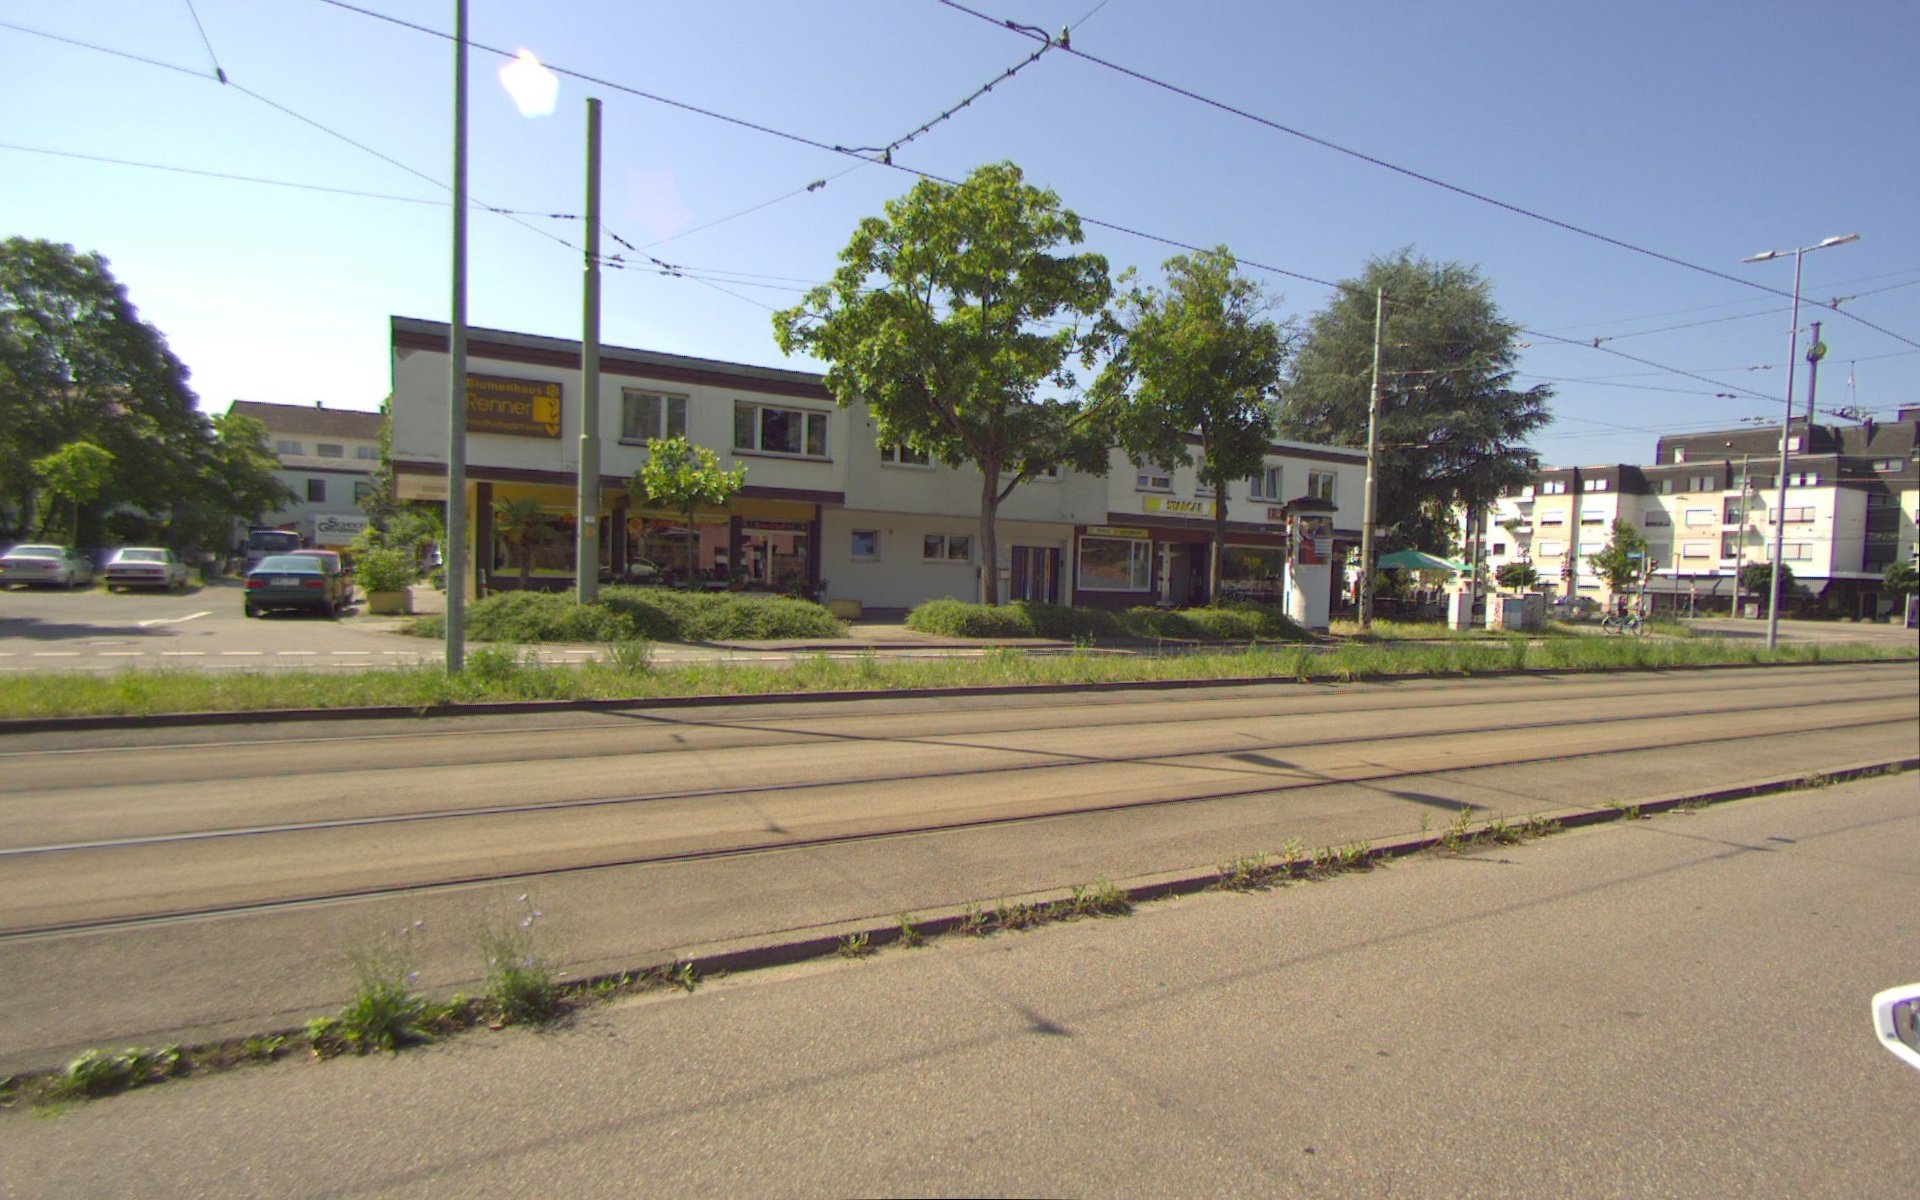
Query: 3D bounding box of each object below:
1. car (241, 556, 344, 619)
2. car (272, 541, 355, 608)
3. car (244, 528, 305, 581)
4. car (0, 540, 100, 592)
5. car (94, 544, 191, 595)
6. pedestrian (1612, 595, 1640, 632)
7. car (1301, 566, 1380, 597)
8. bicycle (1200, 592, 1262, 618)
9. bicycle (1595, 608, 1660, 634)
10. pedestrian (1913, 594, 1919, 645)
[{"bbox_3d":[-15.906,-0.336,24.098,1.677,1.363,4.129,1,2,-29],"label":"car"},{"bbox_3d":[-18.535,-0.755,28.919,1.677,1.759,4.129,1,2,-29],"label":"car"},{"bbox_3d":[-31.375,-2.053,46.073,2.077,2.203,4.901,1,1,-32],"label":"car"},{"bbox_3d":[-29.266,-1.088,32.287,1.890,1.554,3.964,0,2,-32],"label":"car"},{"bbox_3d":[-26.832,-1.000,33.106,1.889,1.554,3.966,1,2,-31],"label":"car"},{"bbox_3d":[27.875,0.574,42.043,0.800,1.507,0.566,2,1,19],"label":"pedestrian"},{"bbox_3d":[29.908,-1.484,79.132,2.224,2.041,5.525,1,4,-30],"label":"car"},{"bbox_3d":[10.205,0.185,37.764,2.362,0.900,0.779,1,2,-30],"label":"bicycle"},{"bbox_3d":[27.596,0.862,41.544,2.134,0.934,0.553,2,1,19],"label":"bicycle"},{"bbox_3d":[33.662,0.682,34.749,0.924,1.762,0.820,1,2,-38],"label":"pedestrian"}]
